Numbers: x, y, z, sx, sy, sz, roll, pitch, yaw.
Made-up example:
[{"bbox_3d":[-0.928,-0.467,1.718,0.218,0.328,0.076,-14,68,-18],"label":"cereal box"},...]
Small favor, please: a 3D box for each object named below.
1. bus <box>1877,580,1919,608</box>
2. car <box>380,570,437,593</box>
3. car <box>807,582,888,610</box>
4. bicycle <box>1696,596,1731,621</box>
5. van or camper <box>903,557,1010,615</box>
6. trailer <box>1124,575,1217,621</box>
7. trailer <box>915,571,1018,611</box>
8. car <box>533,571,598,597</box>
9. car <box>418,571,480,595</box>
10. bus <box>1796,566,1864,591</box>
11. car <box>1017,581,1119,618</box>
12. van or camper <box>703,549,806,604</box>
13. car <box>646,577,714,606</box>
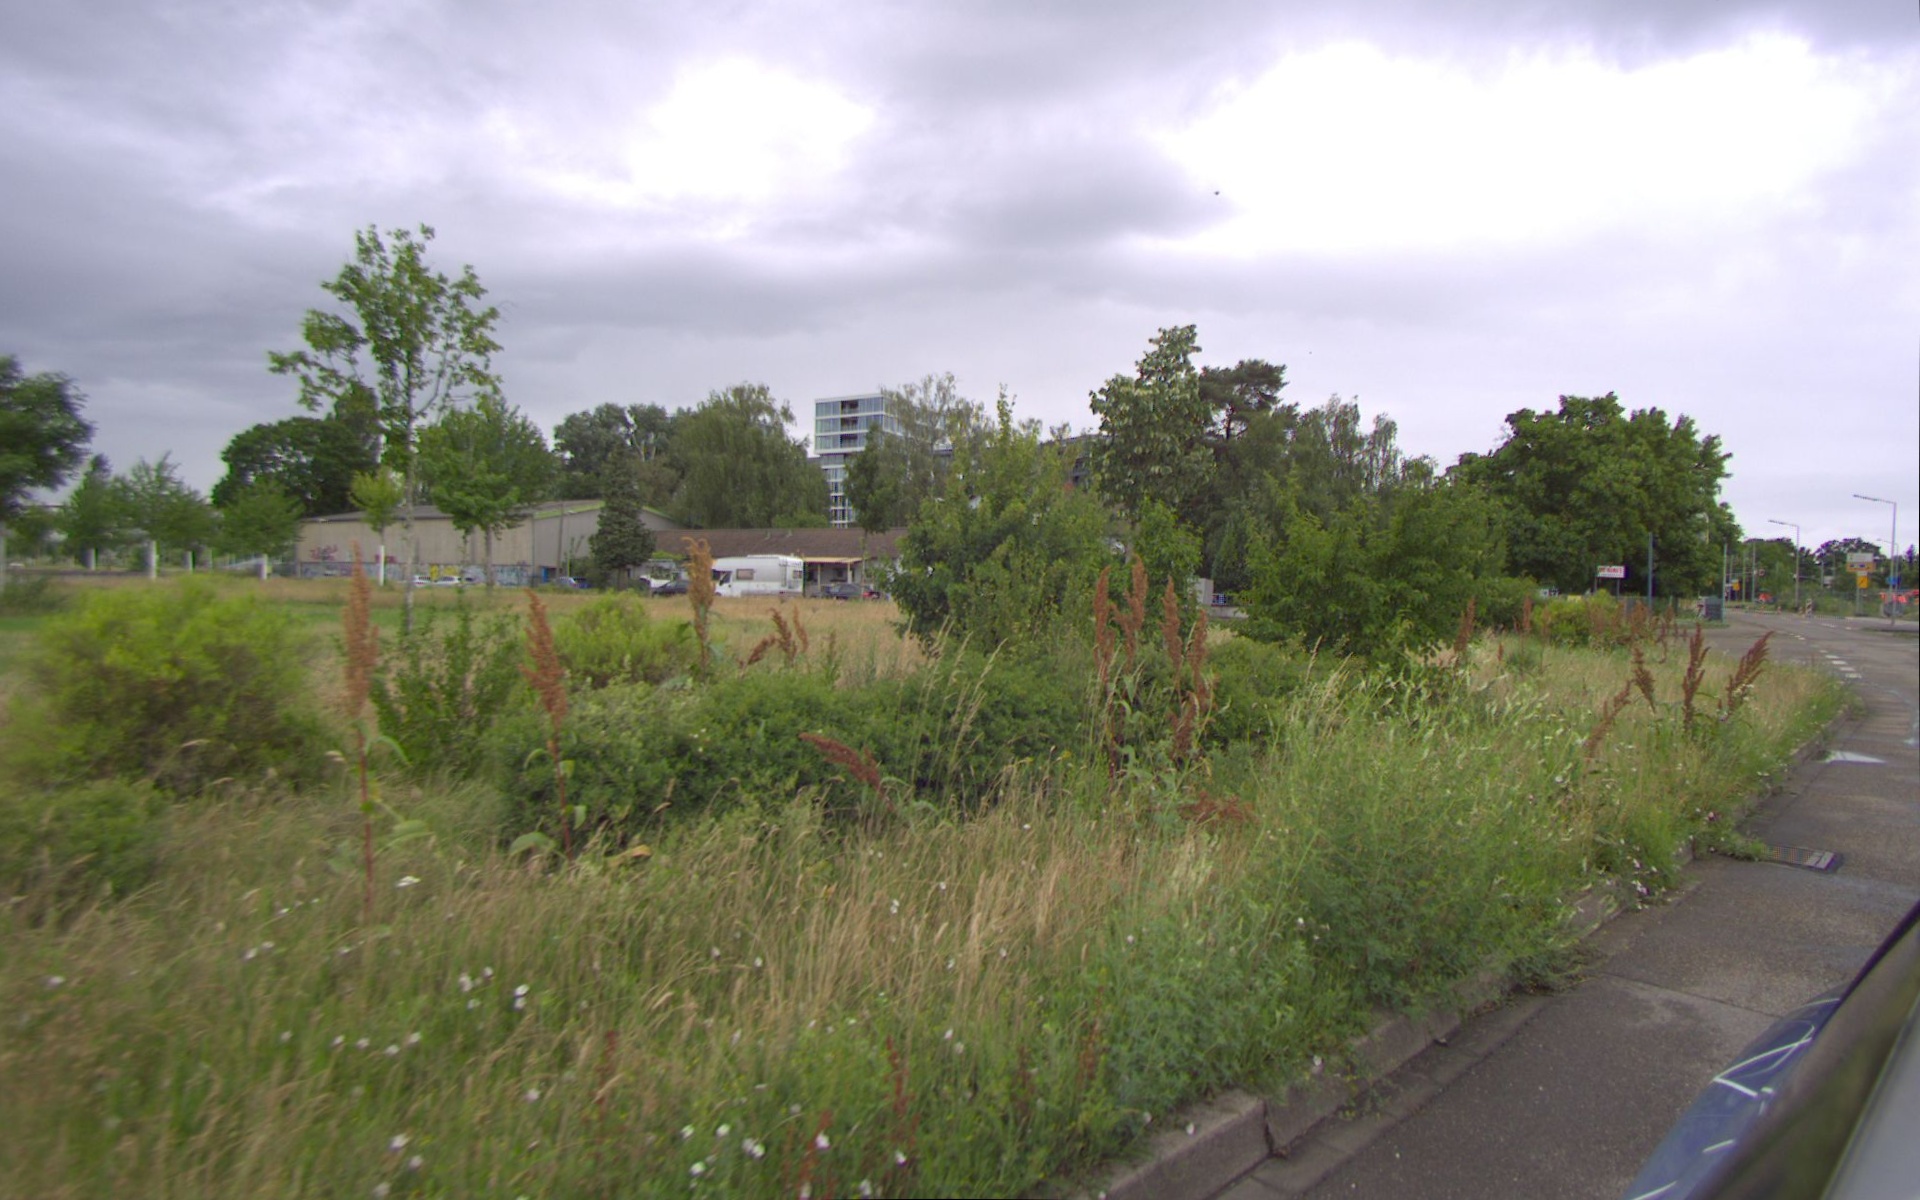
[{"bbox_3d":[141.356,-0.868,148.682,2.677,4.032,9.910,2,0,-13],"label":"bus"},{"bbox_3d":[-43.371,-1.441,79.566,4.345,1.594,1.977,2,-2,32],"label":"car"},{"bbox_3d":[-6.354,-0.236,56.899,4.255,1.402,1.892,2,1,30],"label":"car"},{"bbox_3d":[35.346,0.410,47.457,1.915,1.125,0.798,1,1,-36],"label":"bicycle"},{"bbox_3d":[-0.222,-0.748,53.456,5.140,2.868,2.388,2,0,32],"label":"van or camper"},{"bbox_3d":[9.922,-0.105,47.678,3.966,2.039,1.625,2,0,31],"label":"trailer"},{"bbox_3d":[0.265,-0.395,43.105,4.083,1.552,1.741,2,0,29],"label":"trailer"},{"bbox_3d":[-27.263,-1.085,69.887,4.250,1.594,1.977,2,-2,32],"label":"car"},{"bbox_3d":[-38.551,-1.271,76.321,4.556,1.594,1.977,2,-2,32],"label":"car"},{"bbox_3d":[138.062,-3.373,160.795,2.678,3.694,8.412,2,0,-9],"label":"bus"},{"bbox_3d":[5.313,-0.038,49.900,4.555,1.660,1.979,2,0,30],"label":"car"},{"bbox_3d":[-12.359,-1.421,60.680,6.022,3.151,2.247,2,0,30],"label":"van or camper"},{"bbox_3d":[-17.737,-0.554,64.078,3.904,1.594,1.977,2,-2,32],"label":"car"}]
